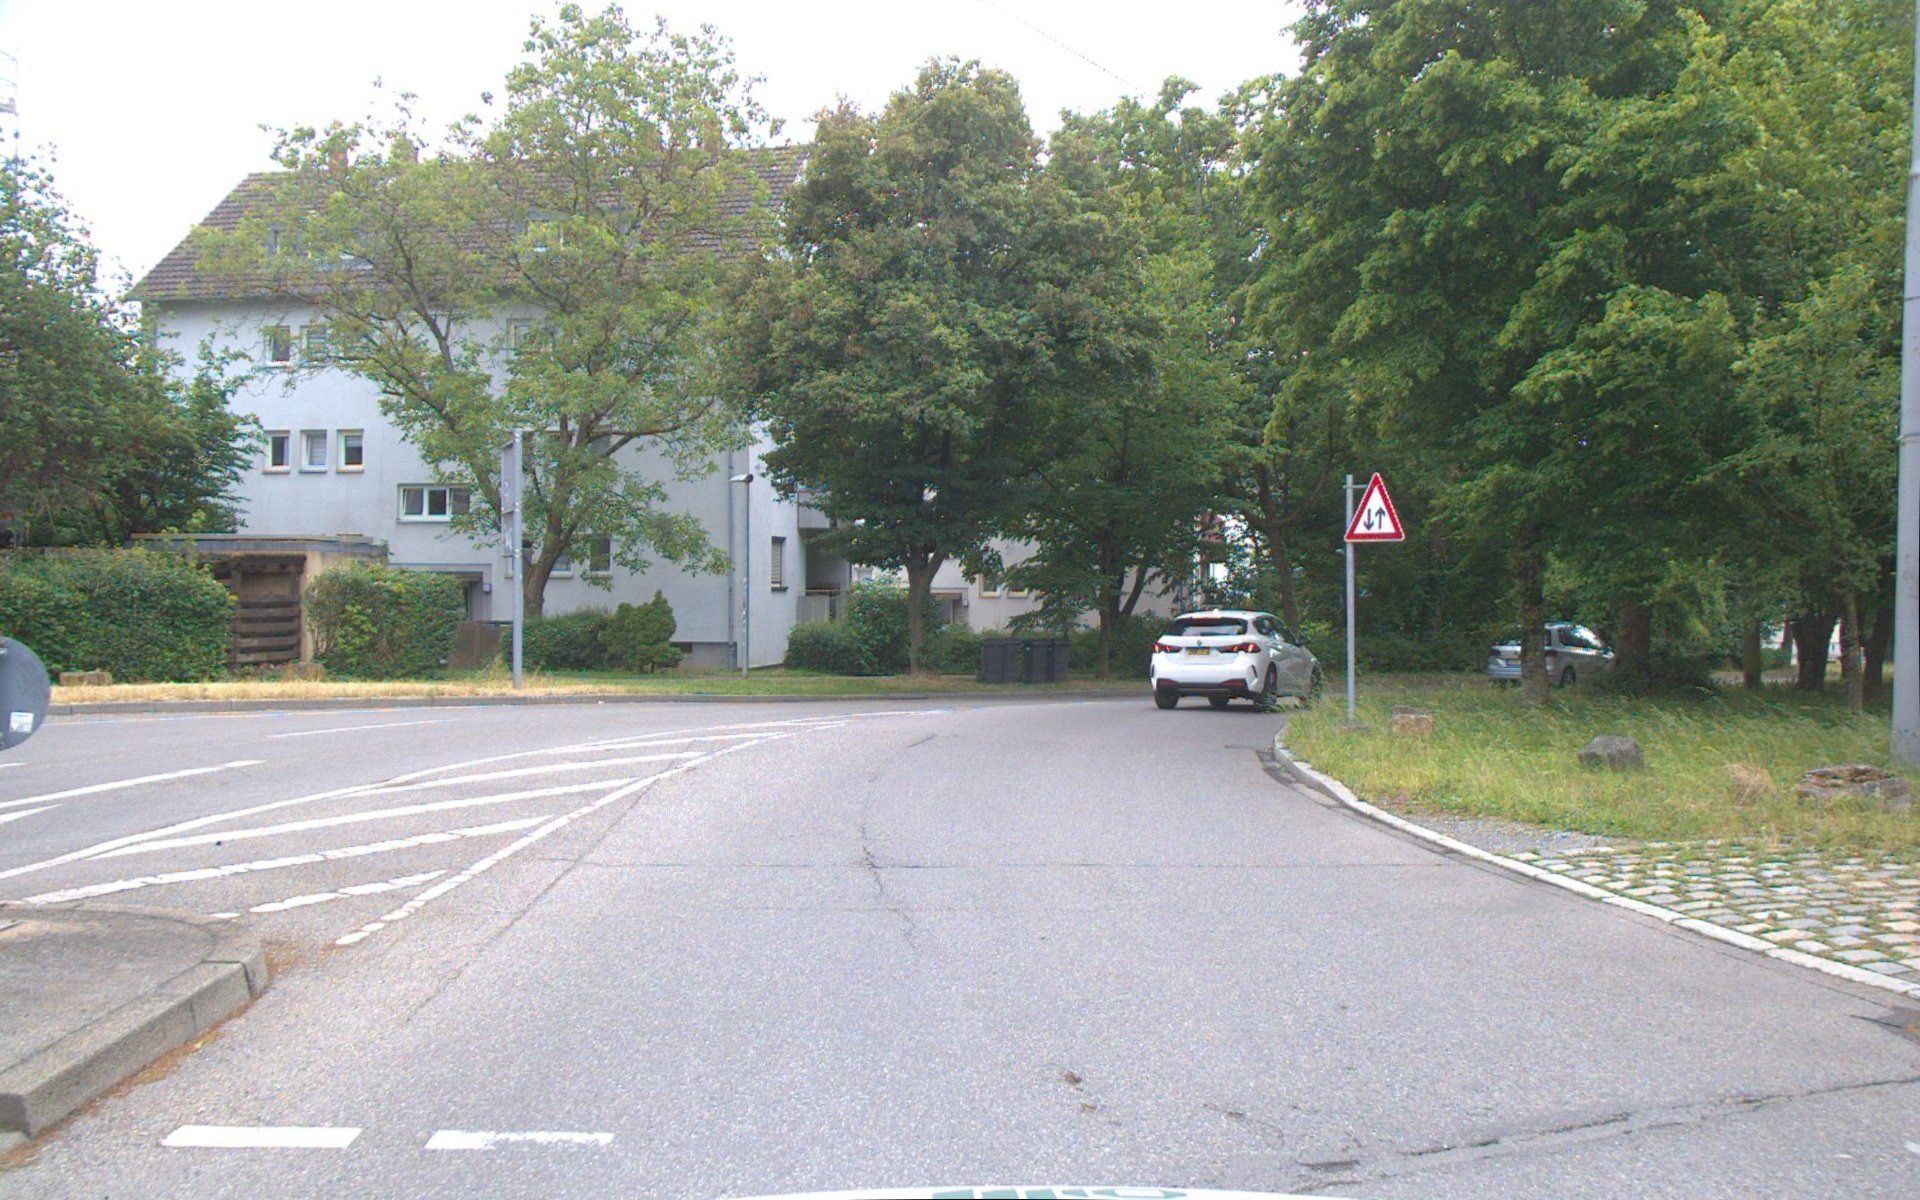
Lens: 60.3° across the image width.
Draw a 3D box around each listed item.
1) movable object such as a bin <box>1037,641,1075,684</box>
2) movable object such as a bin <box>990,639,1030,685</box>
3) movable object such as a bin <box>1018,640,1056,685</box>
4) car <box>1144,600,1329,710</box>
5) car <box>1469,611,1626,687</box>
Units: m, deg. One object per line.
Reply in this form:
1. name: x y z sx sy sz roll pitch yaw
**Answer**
1. movable object such as a bin: 2.002 1.302 34.394 0.568 0.859 0.596 2 1 -23
2. movable object such as a bin: 1.025 1.278 33.922 0.583 0.894 0.616 2 1 -23
3. movable object such as a bin: 1.584 1.291 34.147 0.568 0.881 0.596 2 1 -23
4. car: 4.372 0.855 25.656 1.760 1.544 4.203 0 -2 25
5. car: 13.169 1.088 36.973 1.896 1.602 3.974 -1 -2 43
